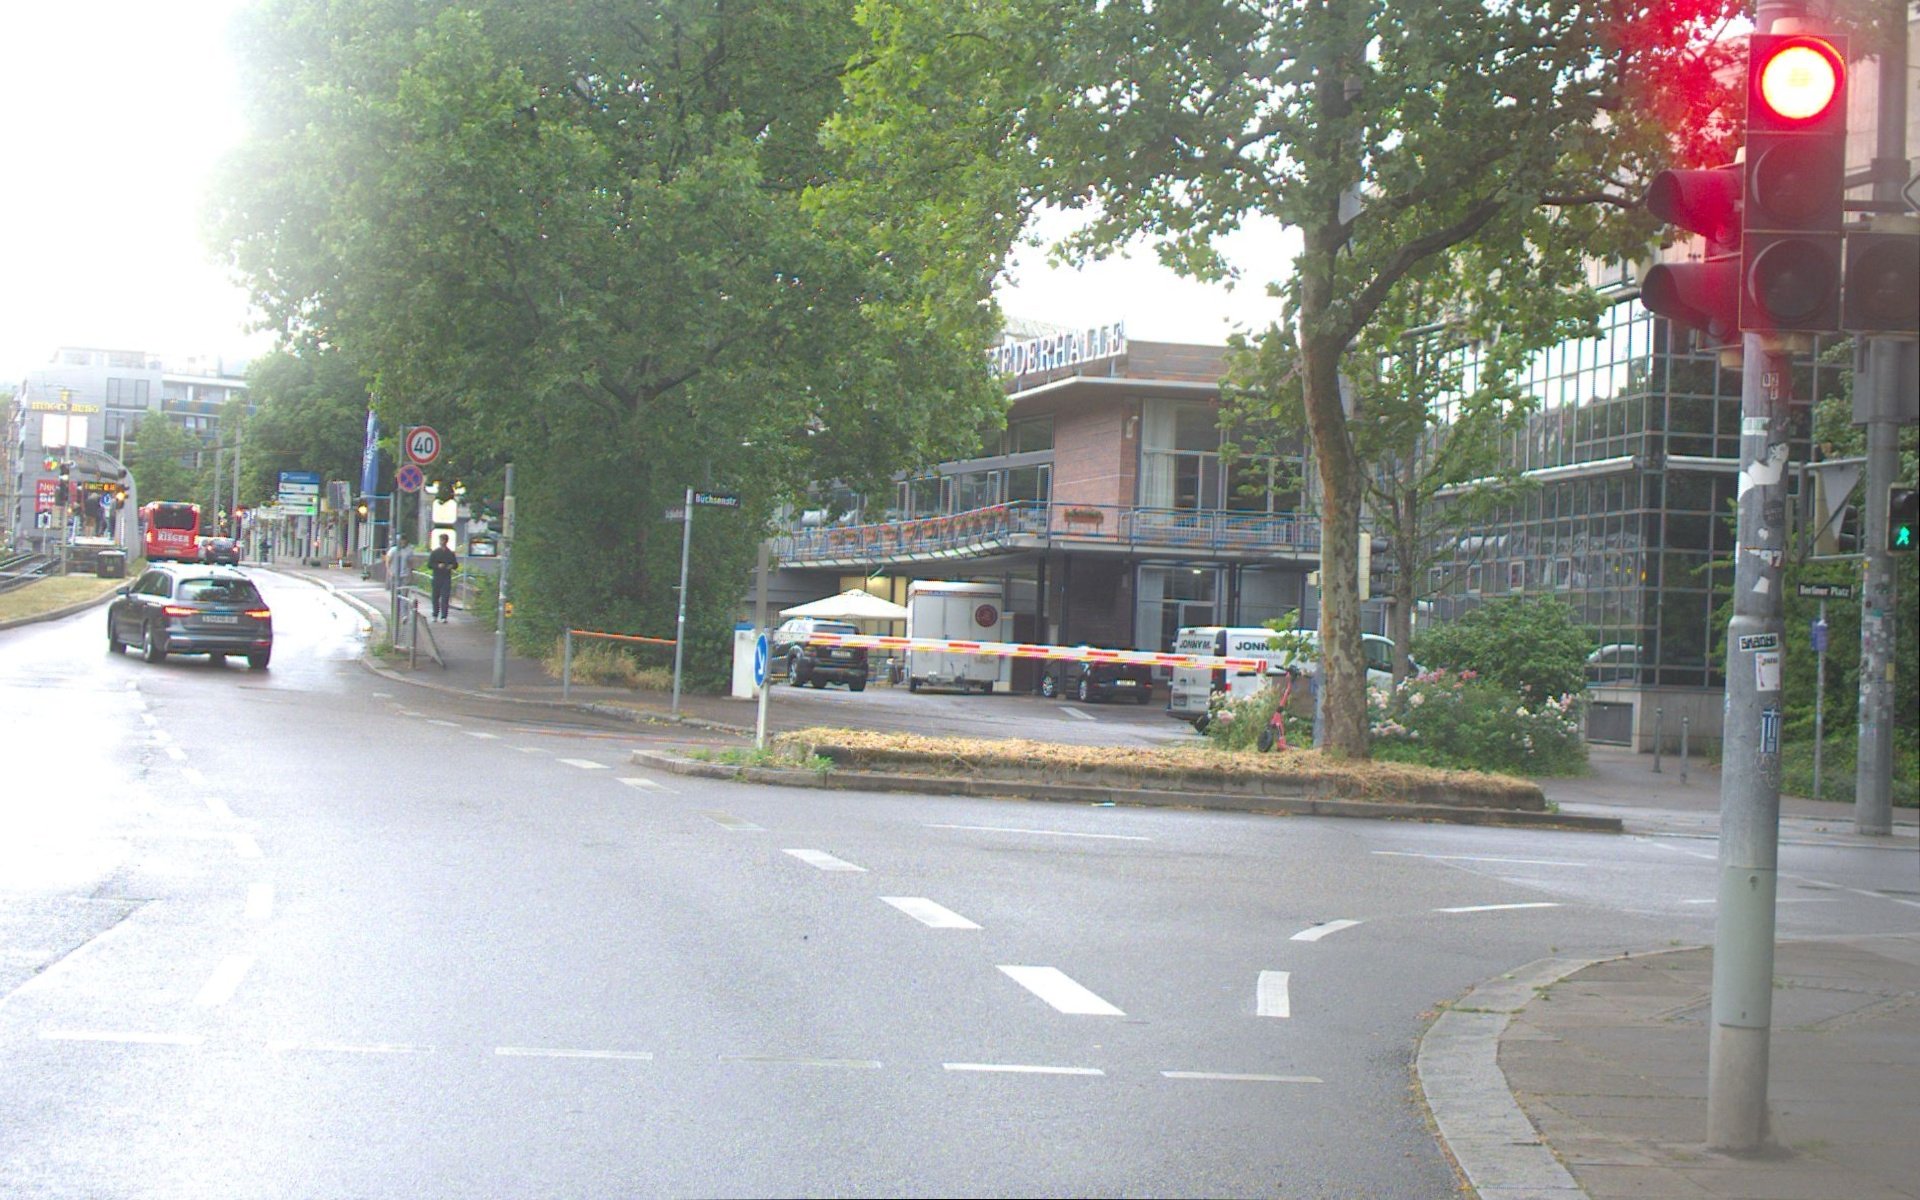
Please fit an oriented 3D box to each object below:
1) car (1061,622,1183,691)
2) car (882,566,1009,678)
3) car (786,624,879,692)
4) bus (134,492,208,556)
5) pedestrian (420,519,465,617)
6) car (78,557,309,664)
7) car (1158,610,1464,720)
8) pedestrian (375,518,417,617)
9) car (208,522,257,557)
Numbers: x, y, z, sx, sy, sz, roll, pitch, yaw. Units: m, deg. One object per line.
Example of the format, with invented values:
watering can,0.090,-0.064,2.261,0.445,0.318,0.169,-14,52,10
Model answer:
car,4.171,1.443,89.198,2.019,1.546,4.351,3,1,-13
car,-0.440,0.534,91.469,2.731,2.686,6.923,3,1,-5
car,-3.239,1.462,87.953,2.019,1.546,4.350,3,1,2
bus,-40.494,-3.848,176.420,3.589,3.160,10.423,1,1,-13
pedestrian,-10.676,-0.666,70.979,0.874,2.007,1.077,1,0,-8
car,-11.570,0.129,51.690,1.993,1.514,4.350,0,1,-33
car,6.363,1.181,62.210,5.198,1.725,1.875,3,1,-25
pedestrian,-11.607,-0.677,70.787,0.814,2.007,1.077,1,0,-8
car,-38.403,-3.192,181.402,2.362,1.810,5.185,1,1,-13
